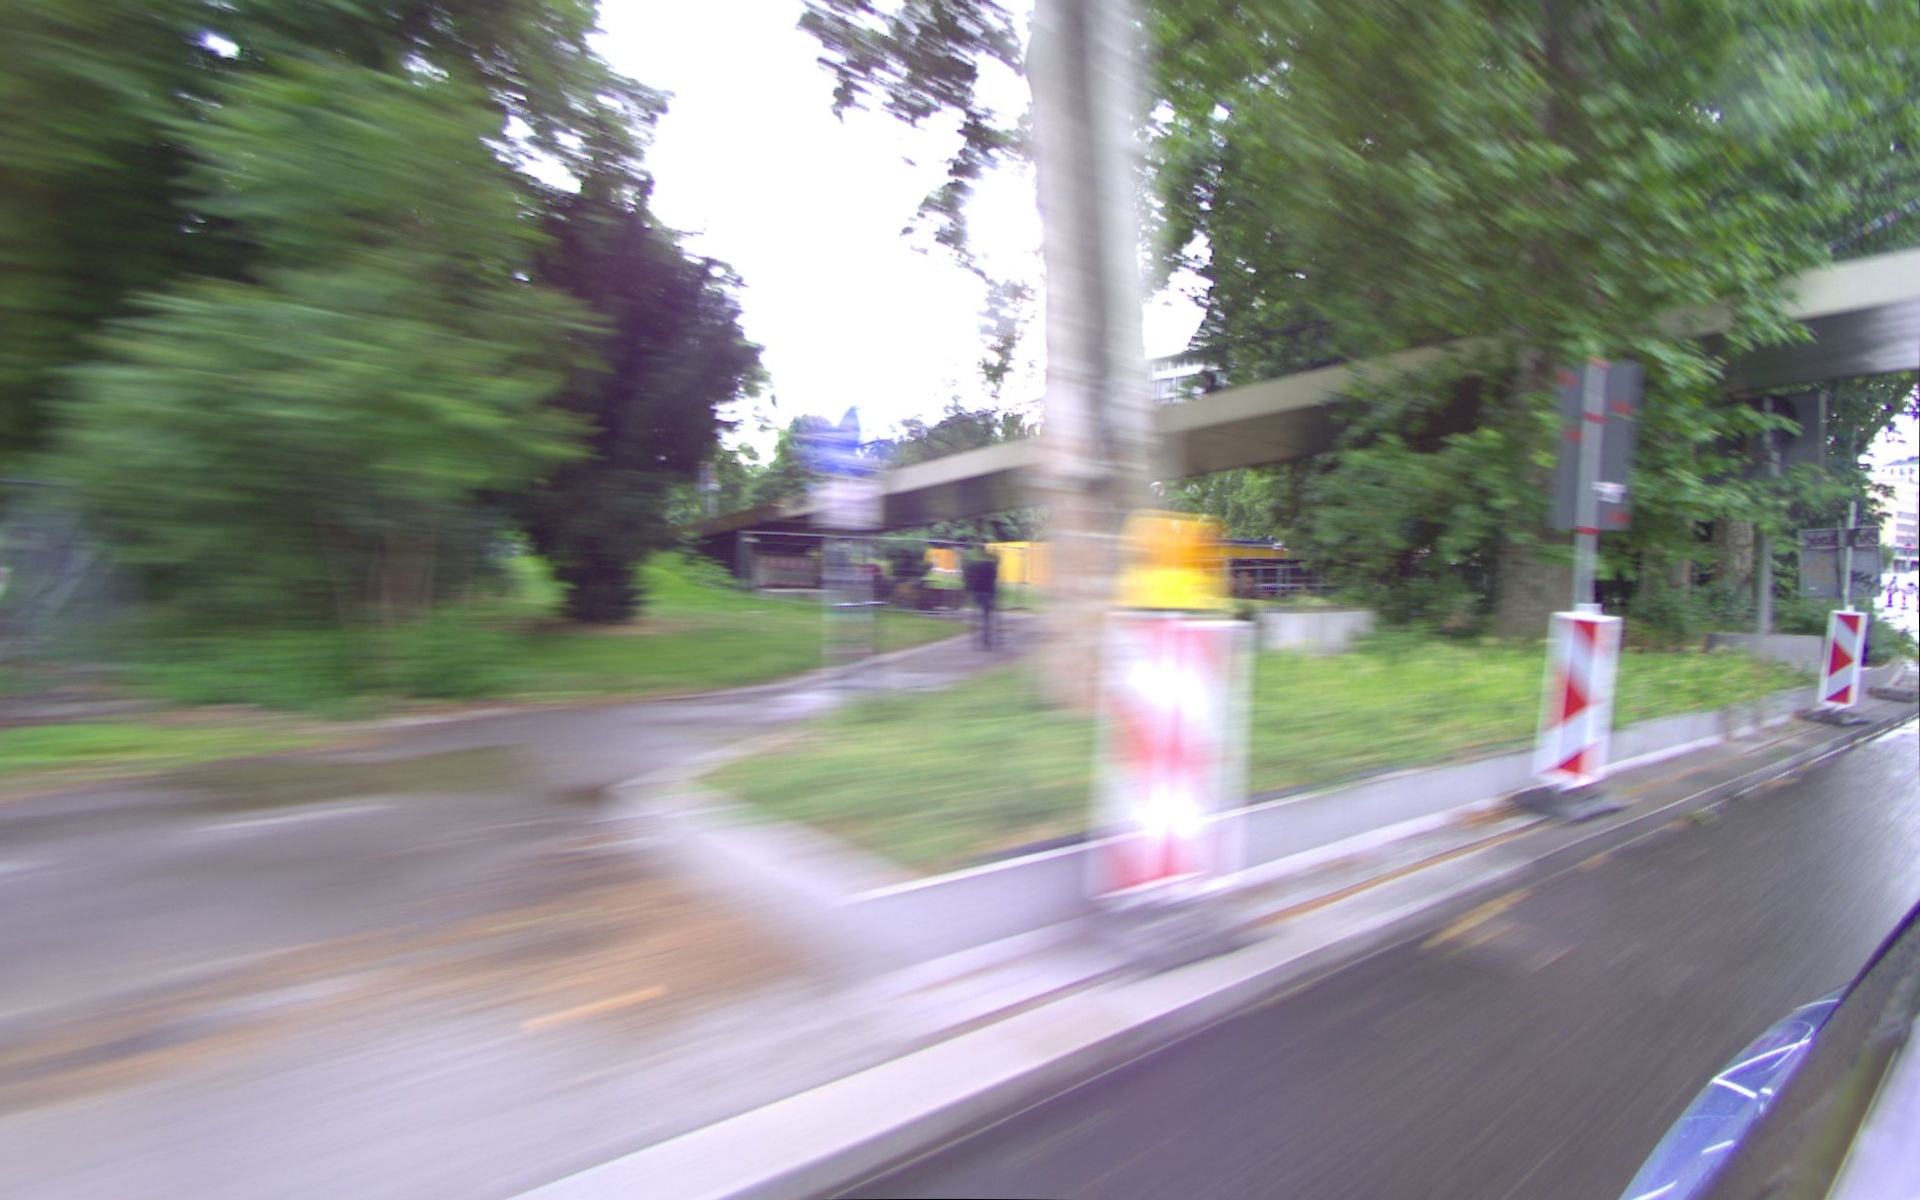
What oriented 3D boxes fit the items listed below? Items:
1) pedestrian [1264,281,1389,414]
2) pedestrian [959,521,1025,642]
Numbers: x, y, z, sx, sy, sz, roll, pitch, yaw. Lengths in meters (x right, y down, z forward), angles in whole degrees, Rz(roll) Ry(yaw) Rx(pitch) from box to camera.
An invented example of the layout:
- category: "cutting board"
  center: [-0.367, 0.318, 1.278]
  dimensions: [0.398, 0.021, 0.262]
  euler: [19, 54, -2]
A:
- category: "pedestrian"
  center: [6.982, -4.749, 19.329]
  dimensions: [1.094, 2.038, 1.987]
  euler: [-1, 2, -44]
- category: "pedestrian"
  center: [0.576, -0.330, 17.759]
  dimensions: [1.034, 2.039, 1.037]
  euler: [1, 1, 8]
